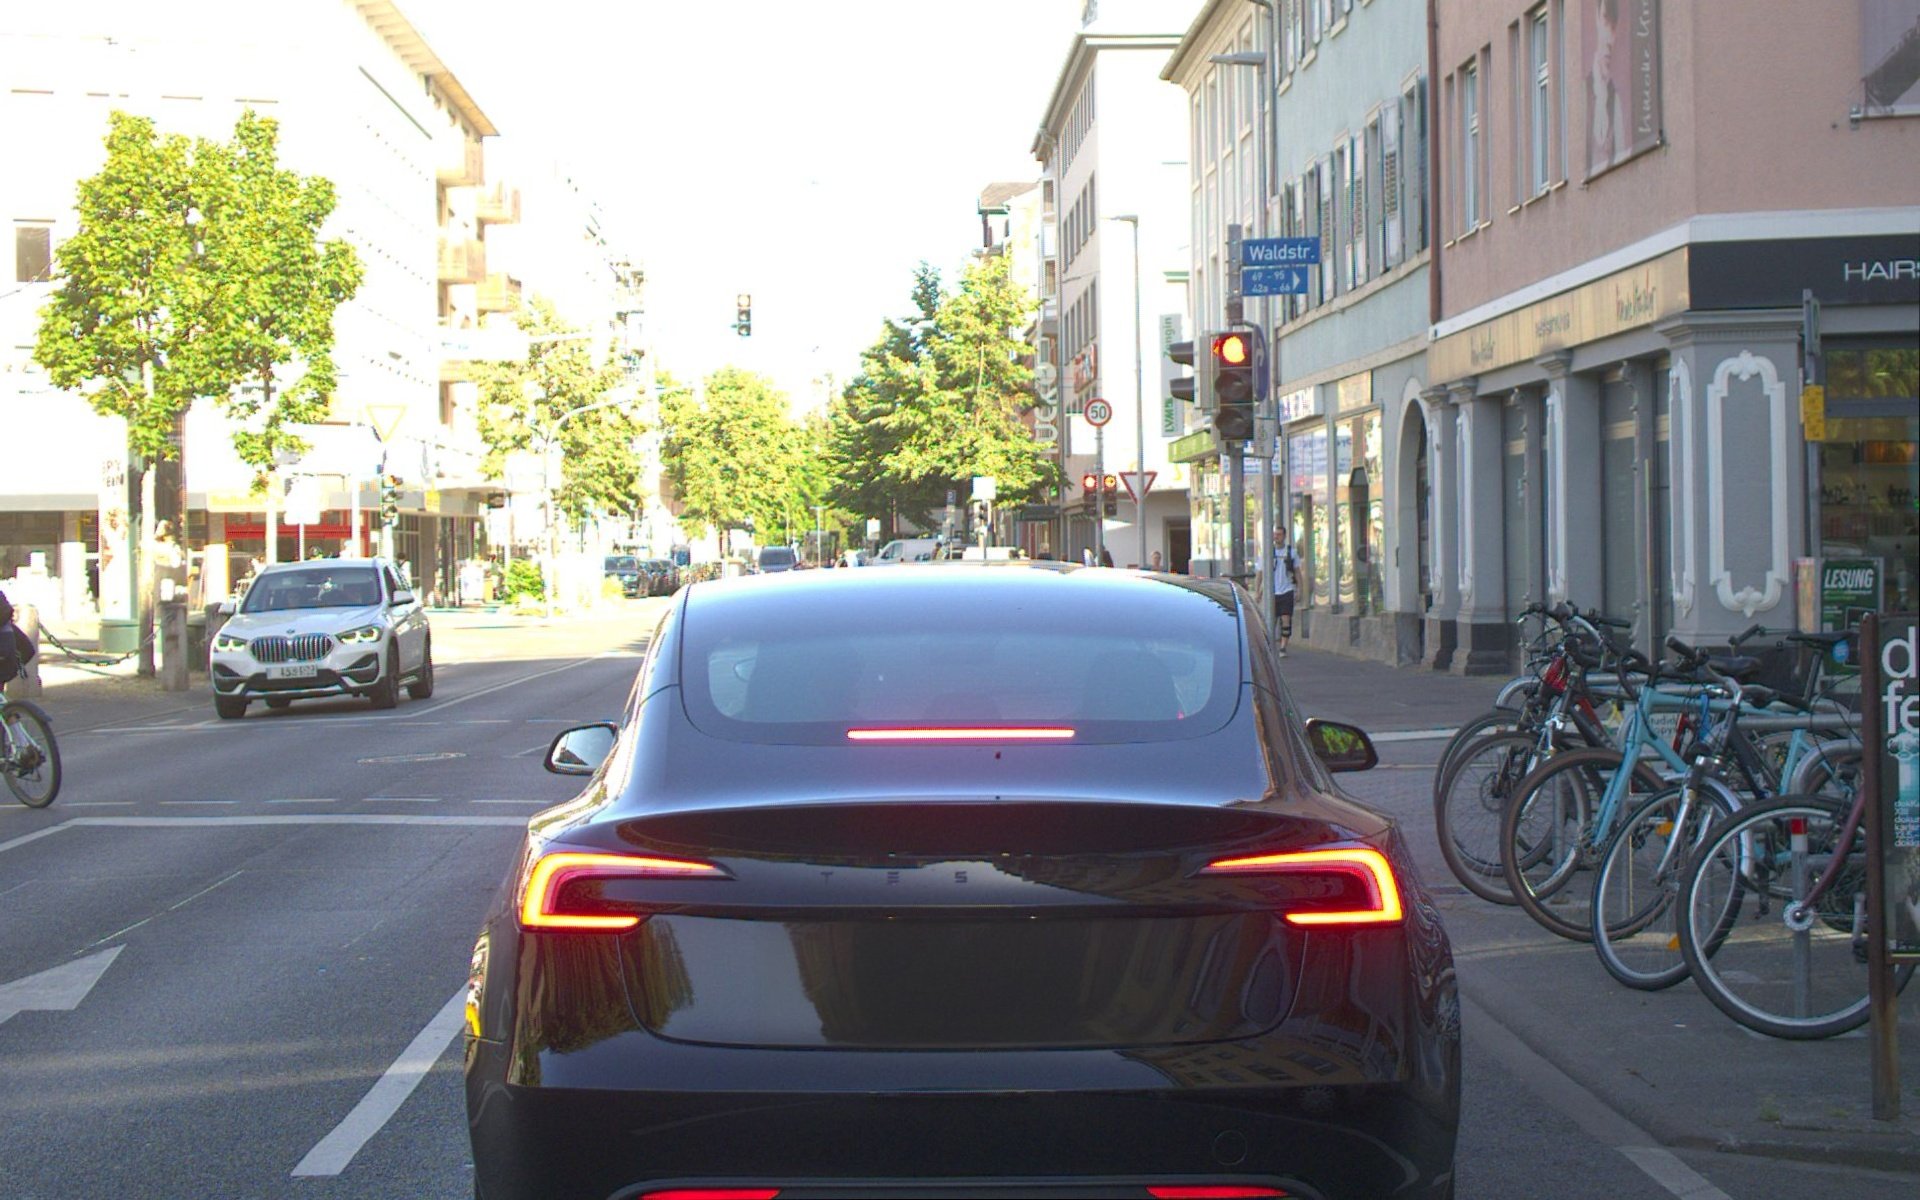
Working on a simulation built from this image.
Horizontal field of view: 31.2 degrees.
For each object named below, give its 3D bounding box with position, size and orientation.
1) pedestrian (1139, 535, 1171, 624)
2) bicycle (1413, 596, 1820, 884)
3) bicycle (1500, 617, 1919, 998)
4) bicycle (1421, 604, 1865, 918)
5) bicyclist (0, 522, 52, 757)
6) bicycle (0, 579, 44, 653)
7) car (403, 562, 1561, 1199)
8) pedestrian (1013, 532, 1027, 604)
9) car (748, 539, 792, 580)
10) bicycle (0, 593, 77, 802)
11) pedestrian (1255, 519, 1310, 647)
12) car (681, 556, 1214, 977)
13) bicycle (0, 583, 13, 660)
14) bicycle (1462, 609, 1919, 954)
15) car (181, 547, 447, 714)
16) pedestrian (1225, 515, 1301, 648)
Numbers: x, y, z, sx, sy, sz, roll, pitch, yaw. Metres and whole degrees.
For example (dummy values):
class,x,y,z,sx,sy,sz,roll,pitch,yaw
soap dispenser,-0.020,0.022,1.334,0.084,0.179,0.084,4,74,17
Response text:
class,x,y,z,sx,sy,sz,roll,pitch,yaw
pedestrian,3.684,-0.389,65.030,0.570,1.685,0.387,0,1,-1
bicycle,2.808,0.595,14.769,1.628,1.156,0.433,-2,1,1
bicycle,2.630,0.660,11.207,1.627,1.156,0.433,-2,1,-1
bicycle,2.684,0.625,13.575,1.627,1.156,0.433,-2,1,-1
bicyclist,-6.184,0.236,21.275,0.796,1.430,1.008,-1,1,-35
bicycle,-15.058,0.235,52.179,2.082,1.100,0.806,0,1,-1
car,0.040,0.652,7.391,1.850,1.450,3.786,0,1,0
pedestrian,1.665,-0.890,95.552,0.384,2.007,0.297,0,1,-1
car,-8.133,-1.736,147.382,1.829,1.718,4.000,0,1,-2
bicycle,-6.165,0.579,21.255,0.796,1.228,1.773,-1,1,-35
pedestrian,4.503,-0.245,48.023,0.704,1.777,0.533,0,1,-1
car,-0.036,0.553,13.833,1.850,1.450,3.786,0,1,0
bicycle,-14.919,0.306,49.986,2.082,1.100,0.806,0,1,-1
bicycle,2.675,0.642,12.376,1.627,1.156,0.433,-2,1,-1
car,-6.734,0.276,36.250,1.993,1.535,4.000,-4,1,-1
pedestrian,4.225,-0.257,48.032,0.999,1.844,0.615,0,1,-1
